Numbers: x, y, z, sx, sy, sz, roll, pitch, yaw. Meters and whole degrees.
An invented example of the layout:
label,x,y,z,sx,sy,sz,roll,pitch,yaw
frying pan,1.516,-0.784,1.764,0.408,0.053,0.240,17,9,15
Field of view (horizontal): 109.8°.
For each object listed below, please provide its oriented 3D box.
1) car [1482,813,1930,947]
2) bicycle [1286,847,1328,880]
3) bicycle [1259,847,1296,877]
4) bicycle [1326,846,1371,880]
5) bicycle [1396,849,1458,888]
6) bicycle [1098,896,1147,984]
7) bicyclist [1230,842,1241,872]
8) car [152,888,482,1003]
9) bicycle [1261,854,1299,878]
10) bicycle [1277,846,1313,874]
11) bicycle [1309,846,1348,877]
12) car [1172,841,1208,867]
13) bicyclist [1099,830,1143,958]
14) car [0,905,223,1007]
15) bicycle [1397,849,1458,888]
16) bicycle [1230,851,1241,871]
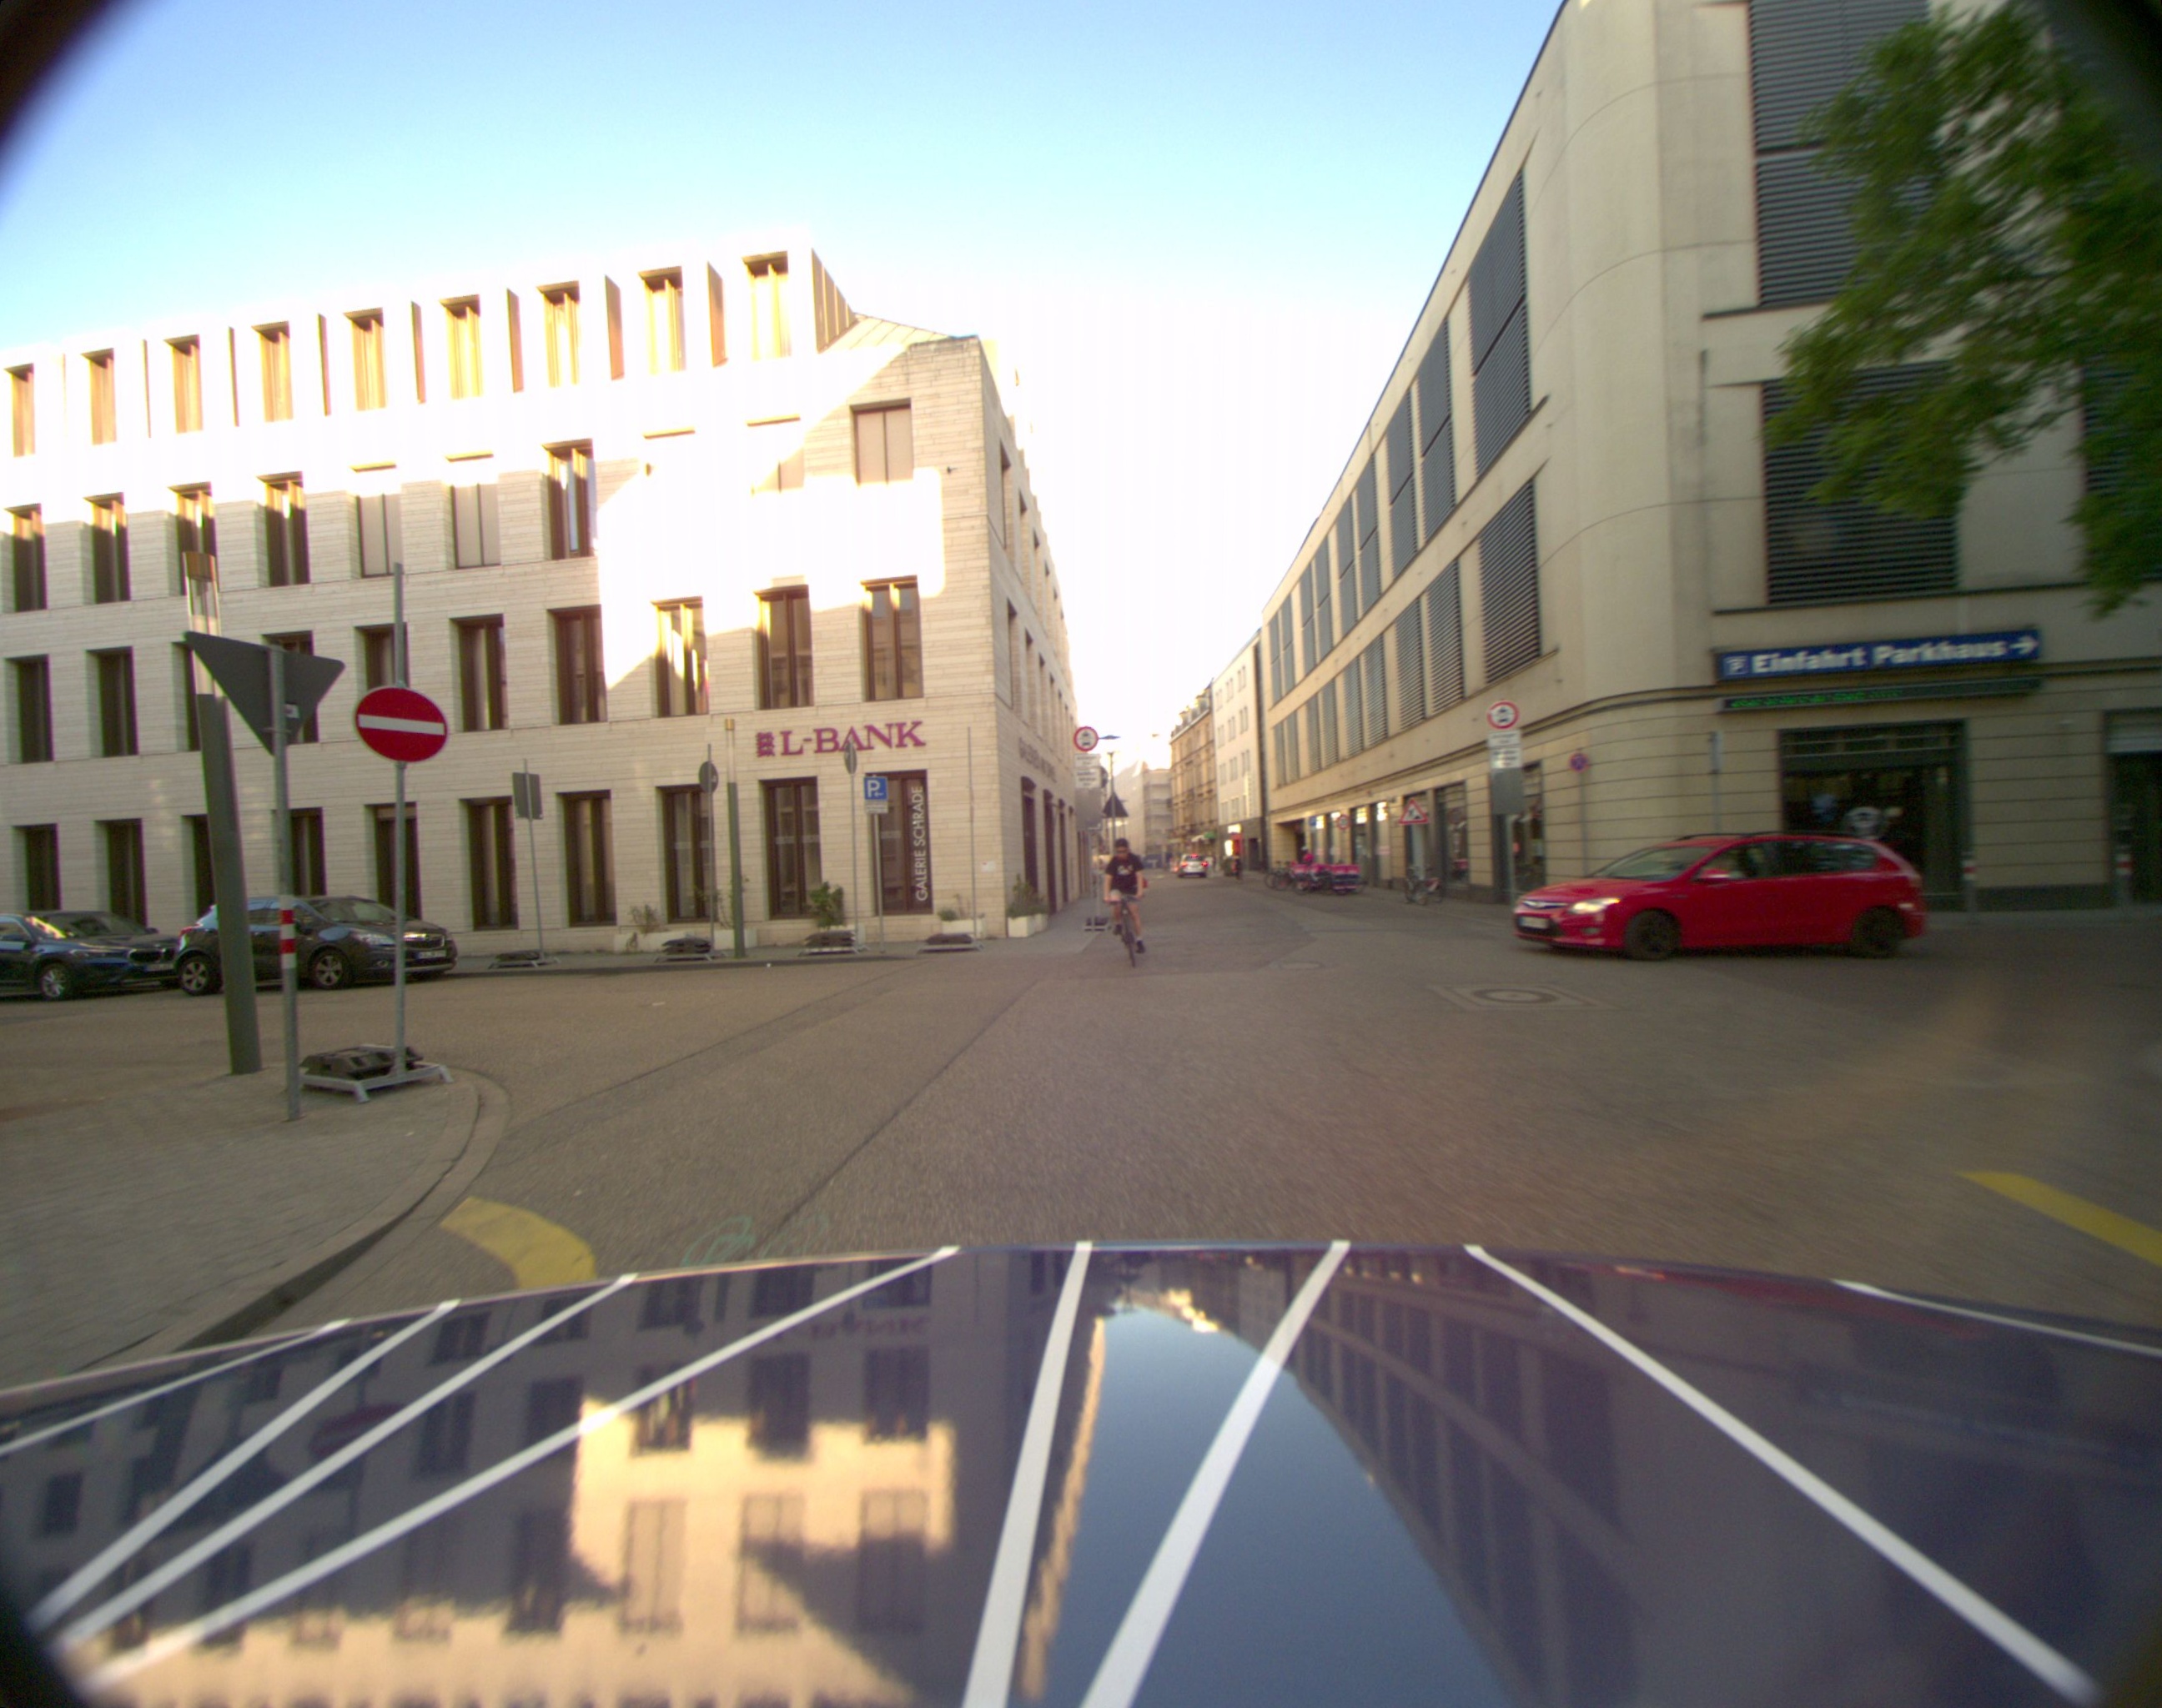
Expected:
label,x,y,z,sx,sy,sz,roll,pitch,yaw
car,7.723,0.289,9.697,4.261,1.456,1.828,-1,1,-1
bicycle,8.935,0.381,29.993,1.515,1.243,0.353,-2,2,23
bicycle,8.587,0.354,33.212,1.516,1.243,0.353,-2,2,15
bicycle,10.078,0.336,28.670,1.517,1.243,0.353,-2,2,11
bicycle,9.707,0.421,21.330,1.515,1.027,0.353,-3,0,28
bicycle,0.553,1.142,10.602,0.511,0.968,1.820,-2,1,-1
bicyclist,8.415,0.145,41.441,0.497,1.616,0.632,-2,2,13
car,-13.438,1.569,13.516,4.258,1.667,1.830,-3,-1,6
bicycle,8.437,0.518,32.204,1.516,0.947,0.353,-2,2,12
bicycle,9.770,0.283,34.691,1.516,1.243,0.353,-2,2,19
bicycle,10.339,0.322,31.760,1.515,1.243,0.353,-2,2,23
car,7.652,-0.052,53.869,2.175,1.652,4.000,-2,1,4
bicyclist,0.545,0.538,10.535,0.501,1.722,0.551,-2,2,-1
car,-18.745,1.876,14.035,4.148,1.585,1.747,-3,-1,7
bicycle,9.876,0.414,21.679,1.515,1.027,0.353,-3,0,28
bicycle,8.372,0.360,41.229,0.517,0.989,2.110,-2,1,13
